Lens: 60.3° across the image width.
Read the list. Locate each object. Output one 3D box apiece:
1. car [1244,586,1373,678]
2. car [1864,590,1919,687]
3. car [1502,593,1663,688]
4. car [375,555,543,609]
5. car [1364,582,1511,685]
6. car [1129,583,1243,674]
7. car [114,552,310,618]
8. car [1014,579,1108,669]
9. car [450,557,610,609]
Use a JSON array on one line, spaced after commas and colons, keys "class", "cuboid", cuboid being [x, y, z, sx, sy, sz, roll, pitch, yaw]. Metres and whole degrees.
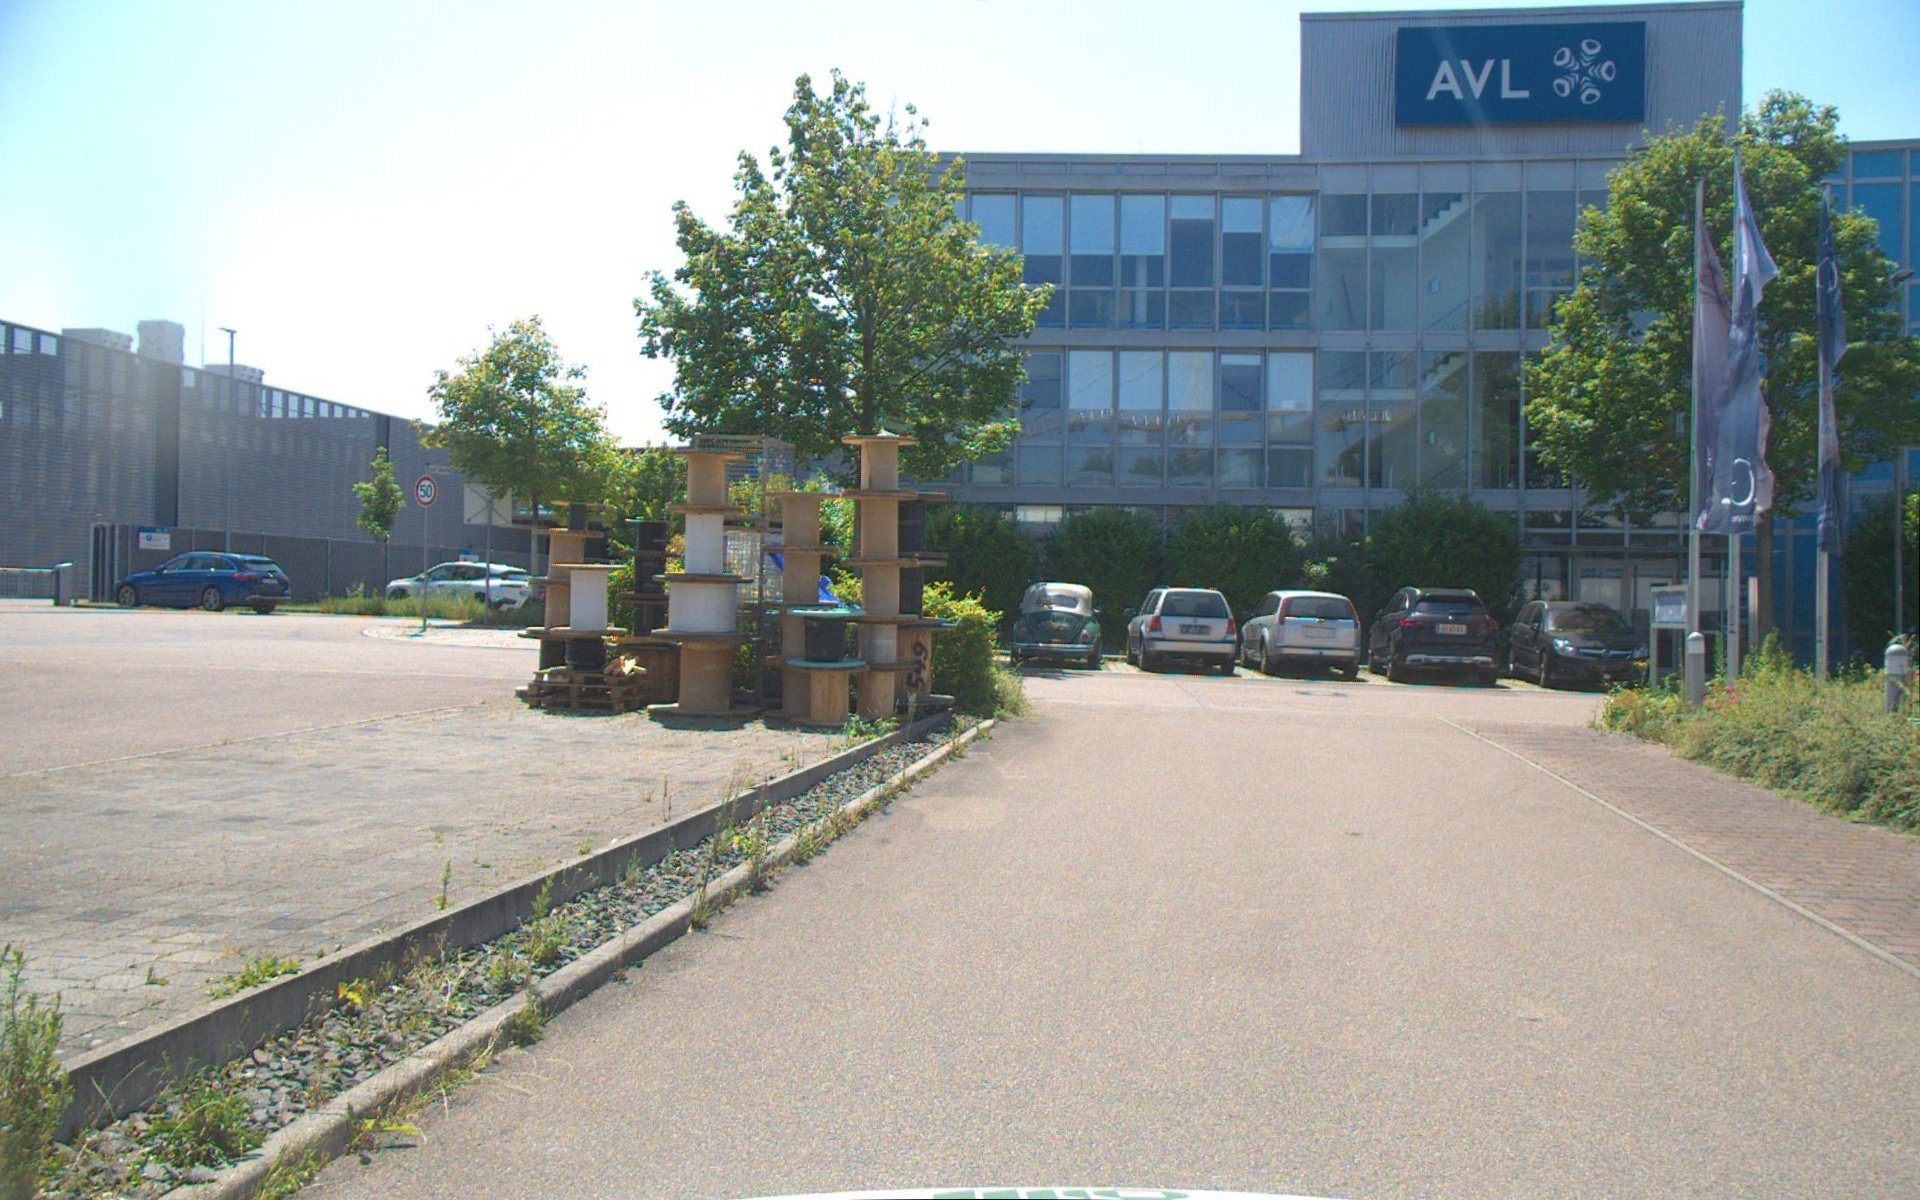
[{"class": "car", "cuboid": [6.340, 0.537, 30.444, 1.728, 1.474, 3.655, 2, 1, 2]}, {"class": "car", "cuboid": [17.669, 0.696, 28.882, 1.781, 1.648, 4.343, 1, 1, 7]}, {"class": "car", "cuboid": [11.128, 0.665, 29.866, 1.732, 1.507, 4.262, 1, 1, 7]}, {"class": "car", "cuboid": [-15.427, -0.568, 50.922, 4.740, 1.517, 2.000, 2, 1, 22]}, {"class": "car", "cuboid": [8.551, 0.543, 29.946, 1.886, 1.638, 3.990, 2, 1, 7]}, {"class": "car", "cuboid": [4.077, 0.465, 30.321, 1.695, 1.474, 3.655, 2, 1, 2]}, {"class": "car", "cuboid": [-18.819, -0.397, 41.618, 4.408, 1.517, 2.000, 2, 1, 22]}, {"class": "car", "cuboid": [1.901, 0.397, 30.351, 1.509, 1.474, 3.657, 2, 1, 6]}, {"class": "car", "cuboid": [-13.944, -0.580, 53.618, 4.740, 1.517, 2.000, 2, 1, 22]}]
